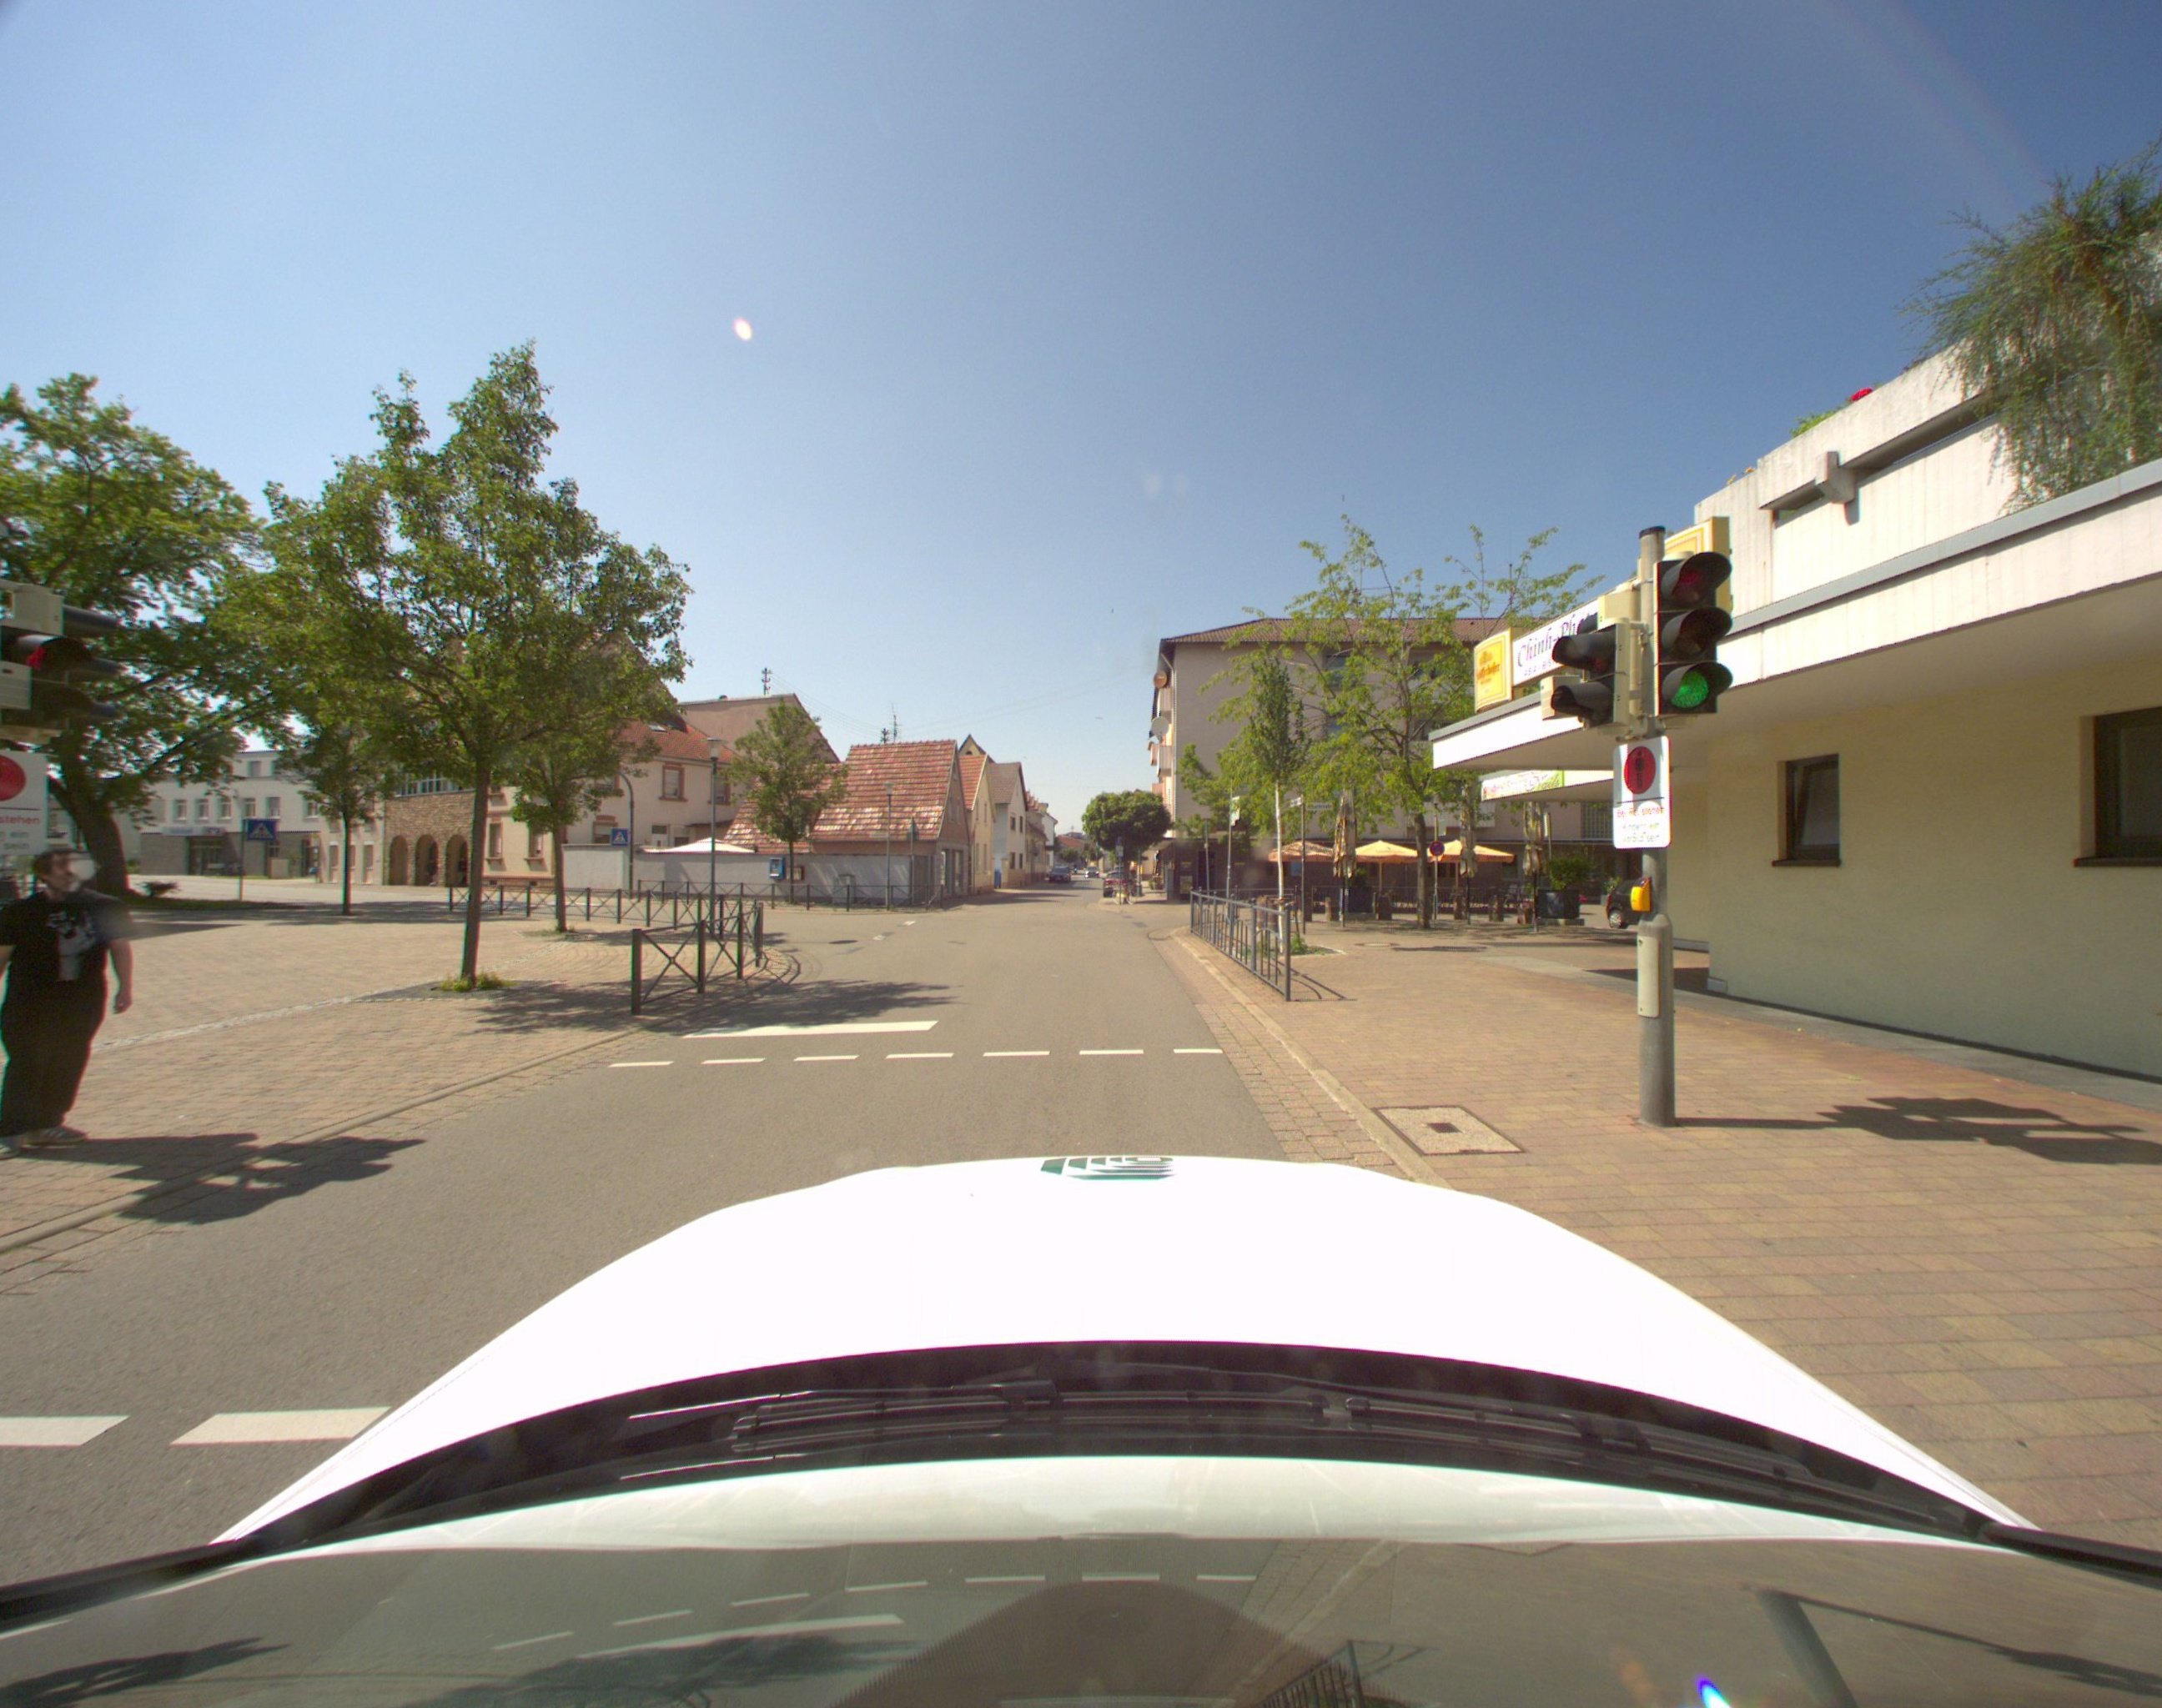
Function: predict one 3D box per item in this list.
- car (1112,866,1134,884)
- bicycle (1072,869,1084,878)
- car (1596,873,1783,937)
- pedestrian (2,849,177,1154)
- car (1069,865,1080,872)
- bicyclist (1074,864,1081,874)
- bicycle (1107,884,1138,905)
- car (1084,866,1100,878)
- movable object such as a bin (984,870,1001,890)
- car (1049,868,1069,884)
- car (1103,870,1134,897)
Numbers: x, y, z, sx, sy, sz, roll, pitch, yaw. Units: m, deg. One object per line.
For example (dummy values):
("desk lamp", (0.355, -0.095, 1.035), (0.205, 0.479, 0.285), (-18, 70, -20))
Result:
("car", (4.115, 2.059, 79.143), (2.034, 1.689, 4.845), (0, -1, 3))
("bicycle", (-0.488, 2.993, 126.035), (1.620, 1.371, 3.921), (0, -1, -3))
("car", (15.620, 1.264, 21.200), (1.762, 1.510, 3.966), (1, -2, -3))
("pedestrian", (-5.771, 0.797, 4.747), (0.543, 1.619, 0.561), (-1, -3, 36))
("car", (-1.419, 3.266, 185.301), (2.017, 1.598, 4.514), (0, -1, 5))
("bicyclist", (-0.577, 2.340, 125.931), (1.044, 1.637, 1.127), (0, -1, -3))
("bicycle", (1.861, 1.813, 36.675), (1.396, 0.897, 0.468), (-2, -1, 39))
("car", (1.351, 2.234, 101.196), (1.902, 1.481, 4.844), (0, -2, 1))
("movable object such as a bin", (-6.004, 1.774, 55.254), (1.096, 1.366, 0.390), (-1, -1, 6))
("car", (-2.033, 2.016, 76.538), (1.656, 1.476, 4.136), (0, -1, 2))
("car", (2.125, 1.617, 45.309), (1.568, 1.454, 3.490), (-1, -1, 5))
